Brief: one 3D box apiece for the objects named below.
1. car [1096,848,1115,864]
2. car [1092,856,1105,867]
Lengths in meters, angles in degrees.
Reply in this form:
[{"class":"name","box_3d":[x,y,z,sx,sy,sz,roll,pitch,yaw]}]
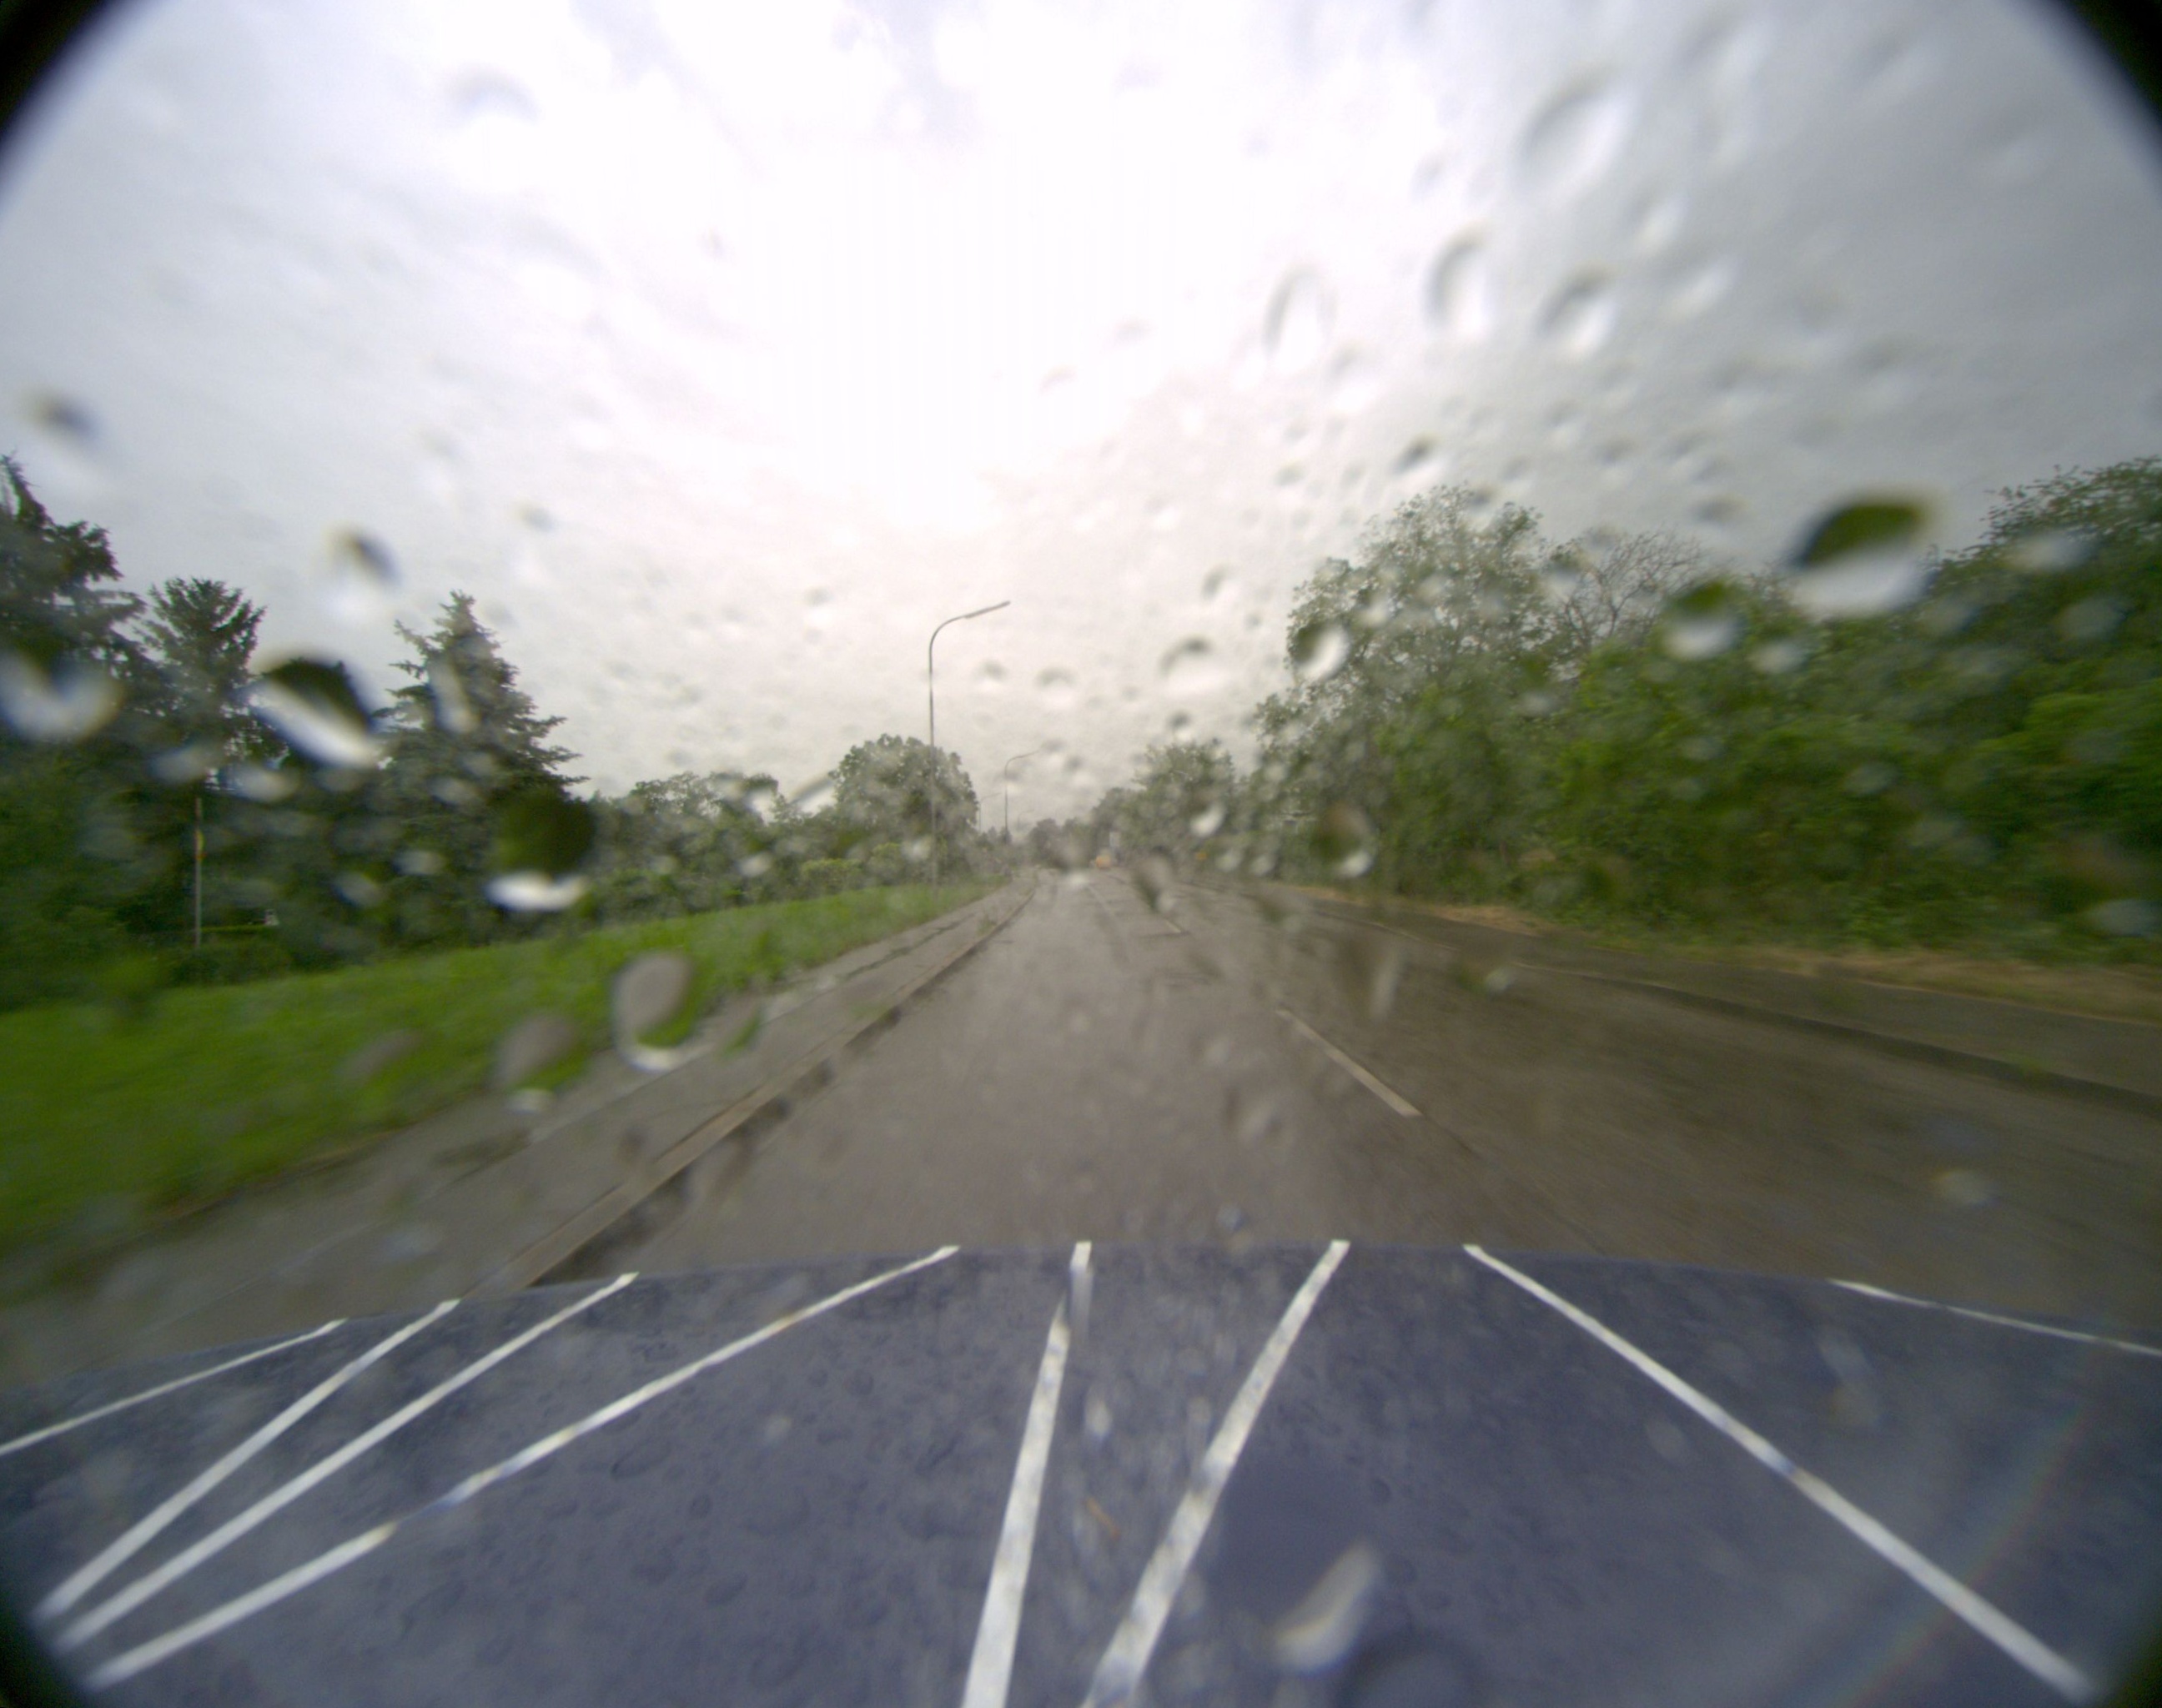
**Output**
[{"class":"car","box_3d":[3.202,0.270,99.784,1.999,1.865,4.468,-3,0,-3]},{"class":"car","box_3d":[2.753,1.176,118.049,1.830,1.543,3.615,-3,0,-1]}]
